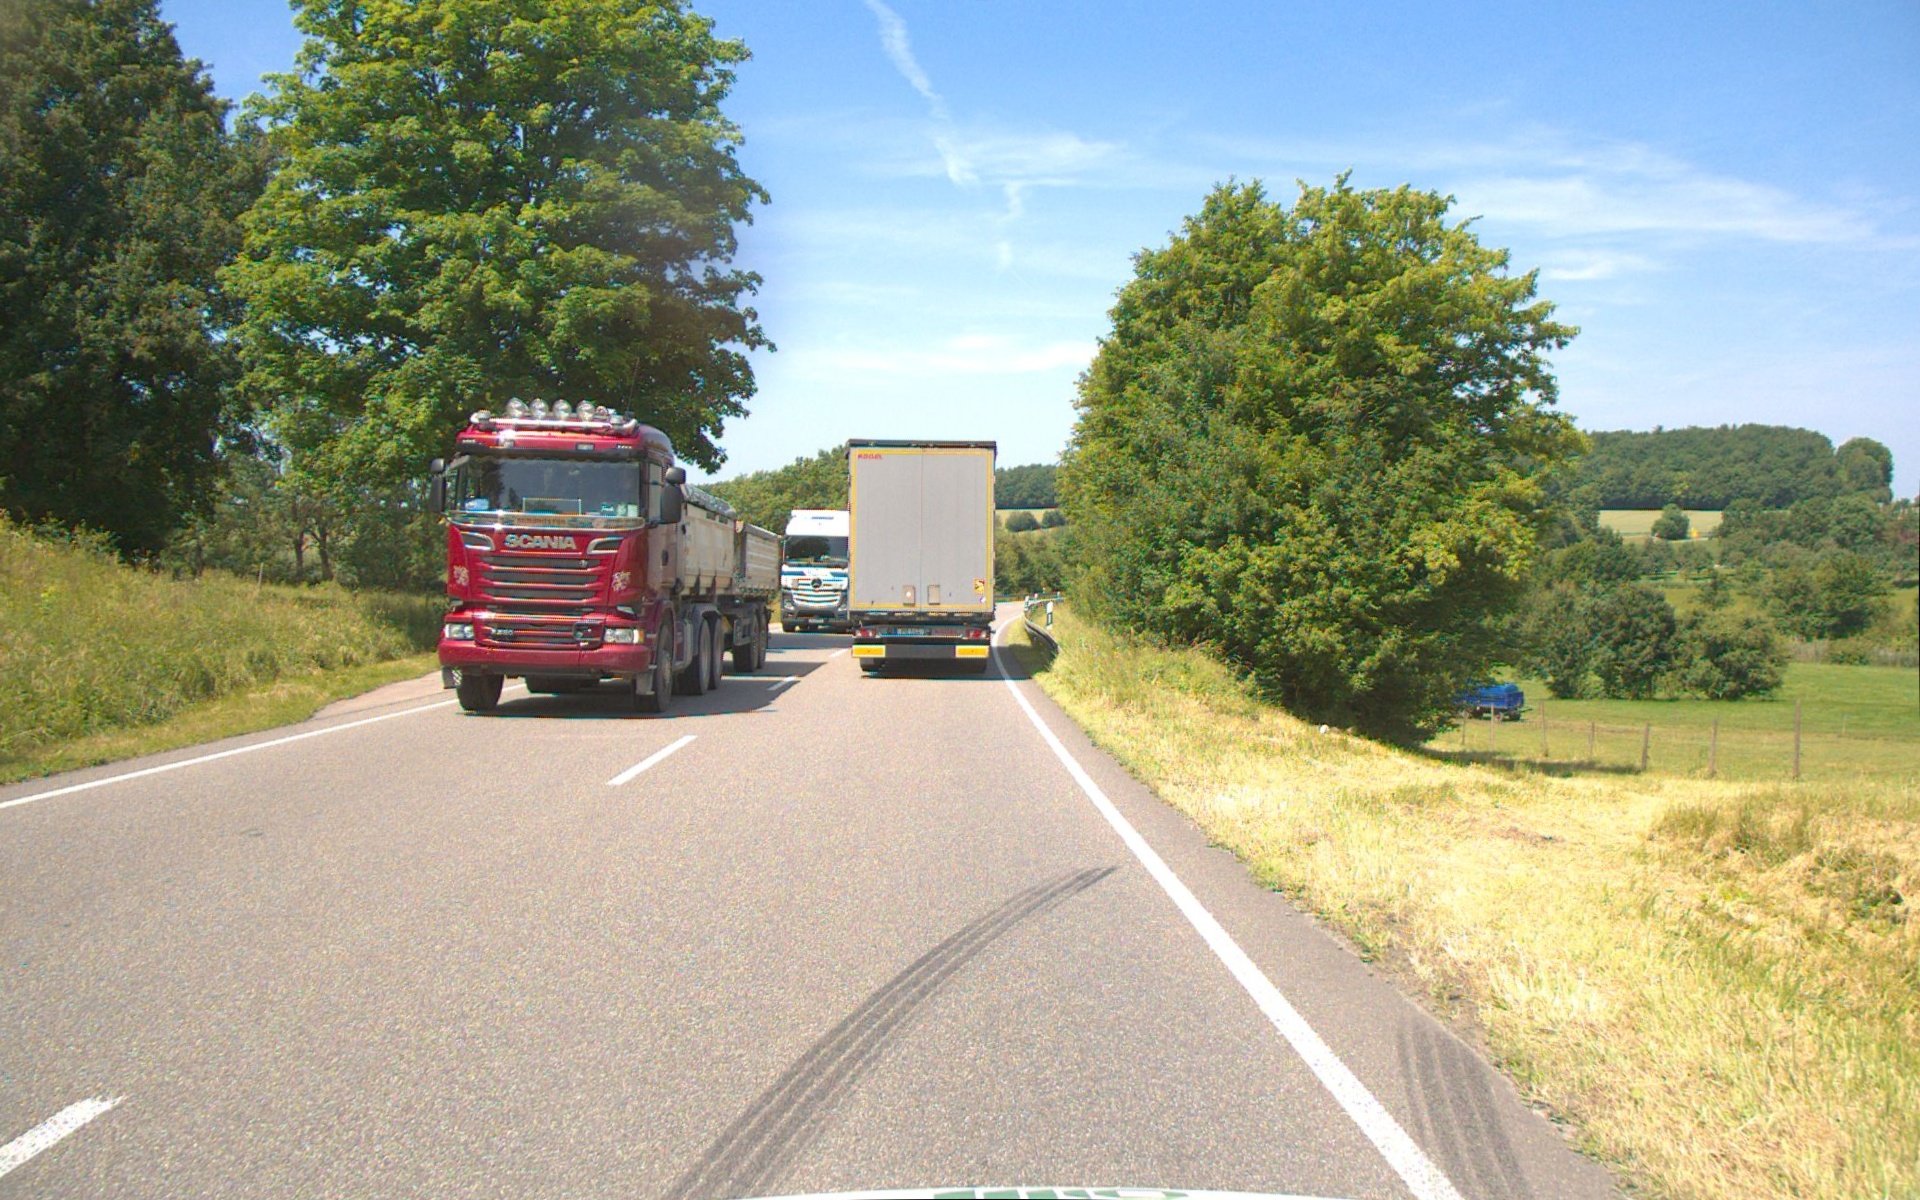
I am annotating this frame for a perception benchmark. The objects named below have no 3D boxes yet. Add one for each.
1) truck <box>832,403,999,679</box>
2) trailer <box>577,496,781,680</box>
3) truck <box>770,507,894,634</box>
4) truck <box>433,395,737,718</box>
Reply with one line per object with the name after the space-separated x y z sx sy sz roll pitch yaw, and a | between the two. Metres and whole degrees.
-0.756 -1.048 33.713 2.760 4.611 11.767 1 1 0 | truck
-4.872 -0.198 29.950 2.590 2.923 7.075 0 0 -1 | trailer
-4.436 -1.026 61.230 2.507 4.008 16.166 2 1 2 | truck
-4.729 -0.488 22.469 2.479 3.622 7.759 0 0 -1 | truck
